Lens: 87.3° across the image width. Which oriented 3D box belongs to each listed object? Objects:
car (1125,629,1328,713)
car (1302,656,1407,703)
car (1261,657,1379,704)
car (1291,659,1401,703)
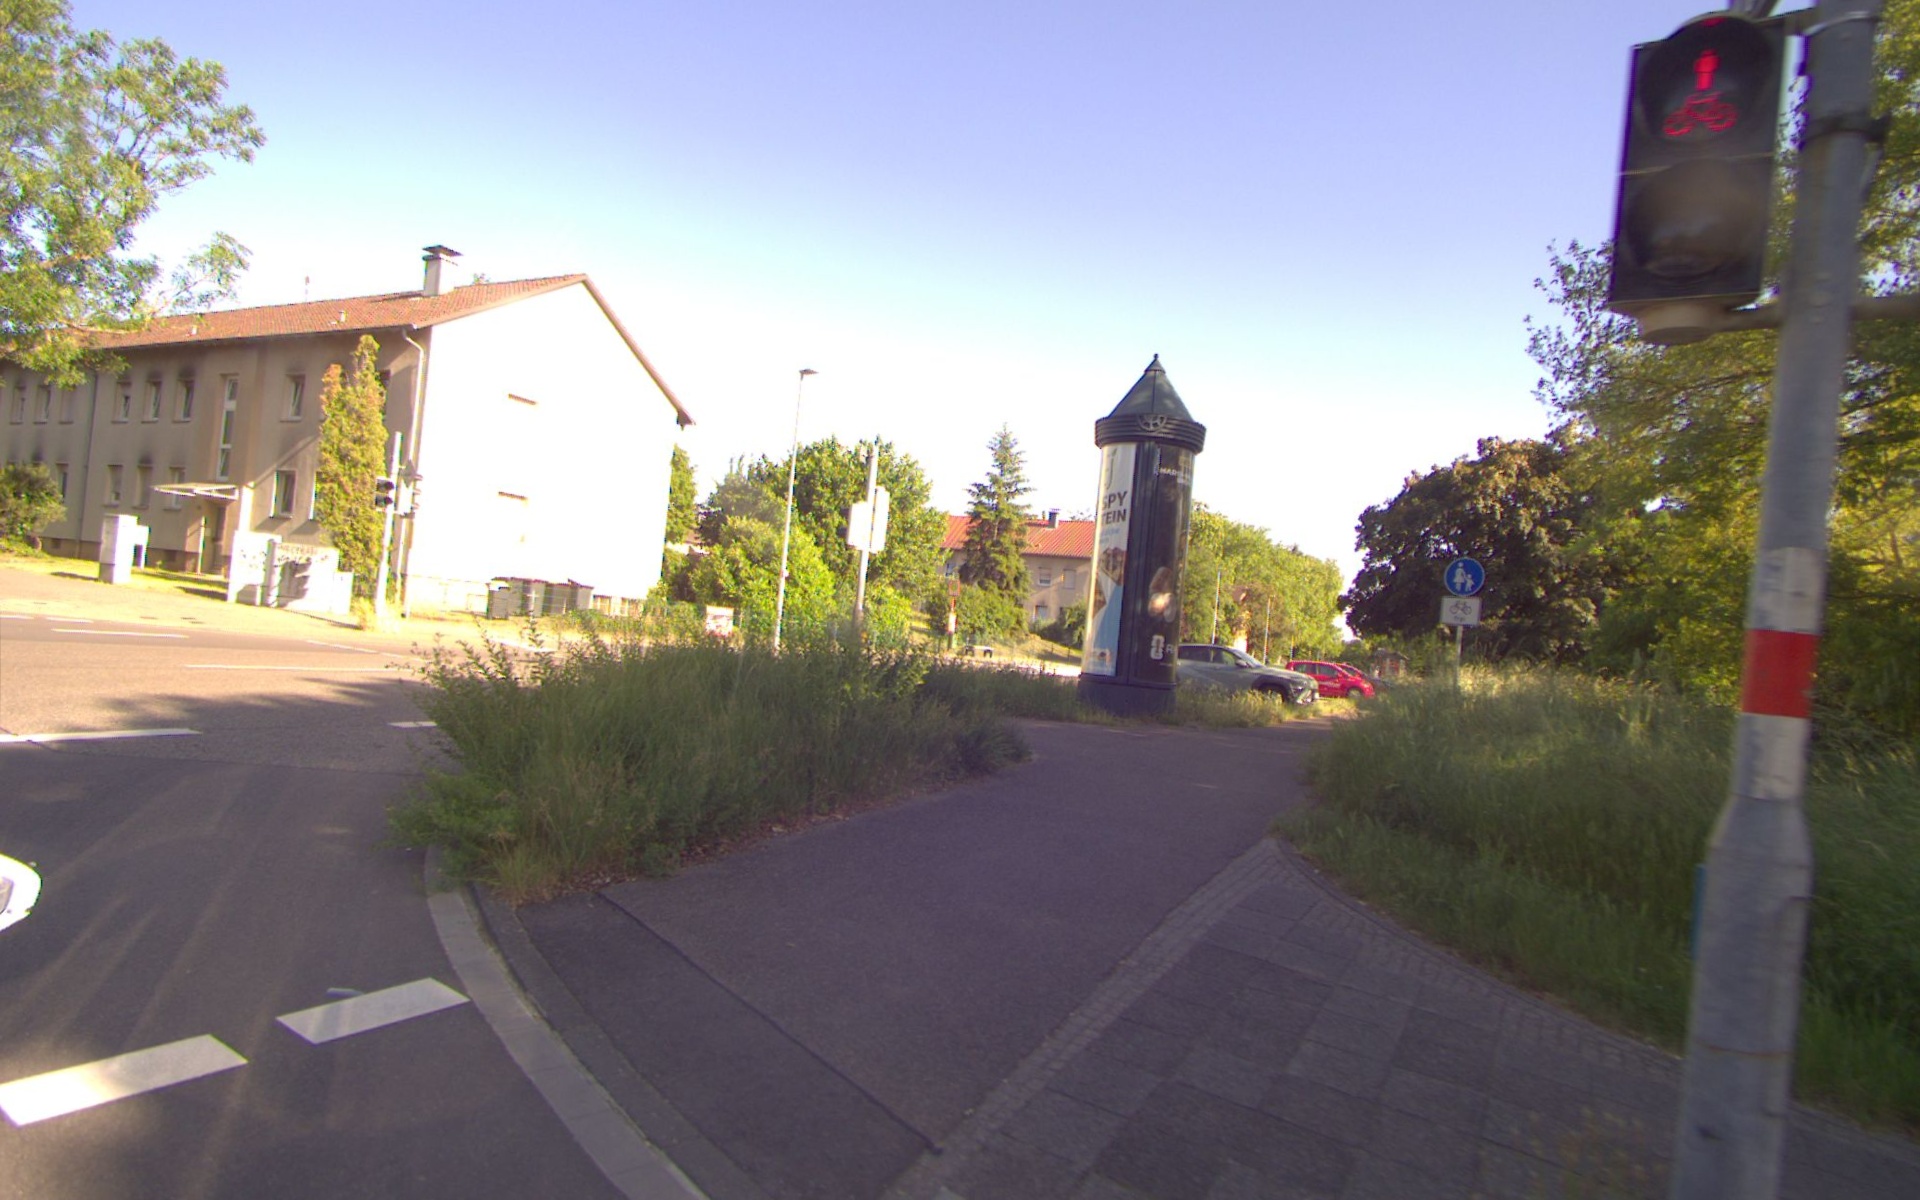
[{"bbox_3d":[6.423,1.709,24.324,4.373,1.668,1.869,2,-4,28],"label":"car"},{"bbox_3d":[17.863,3.577,45.573,4.123,1.550,1.867,6,-1,28],"label":"car"},{"bbox_3d":[14.231,3.178,39.817,4.125,1.548,1.869,2,-4,28],"label":"car"},{"bbox_3d":[16.424,3.430,42.772,4.125,1.548,1.869,2,-4,28],"label":"car"}]
